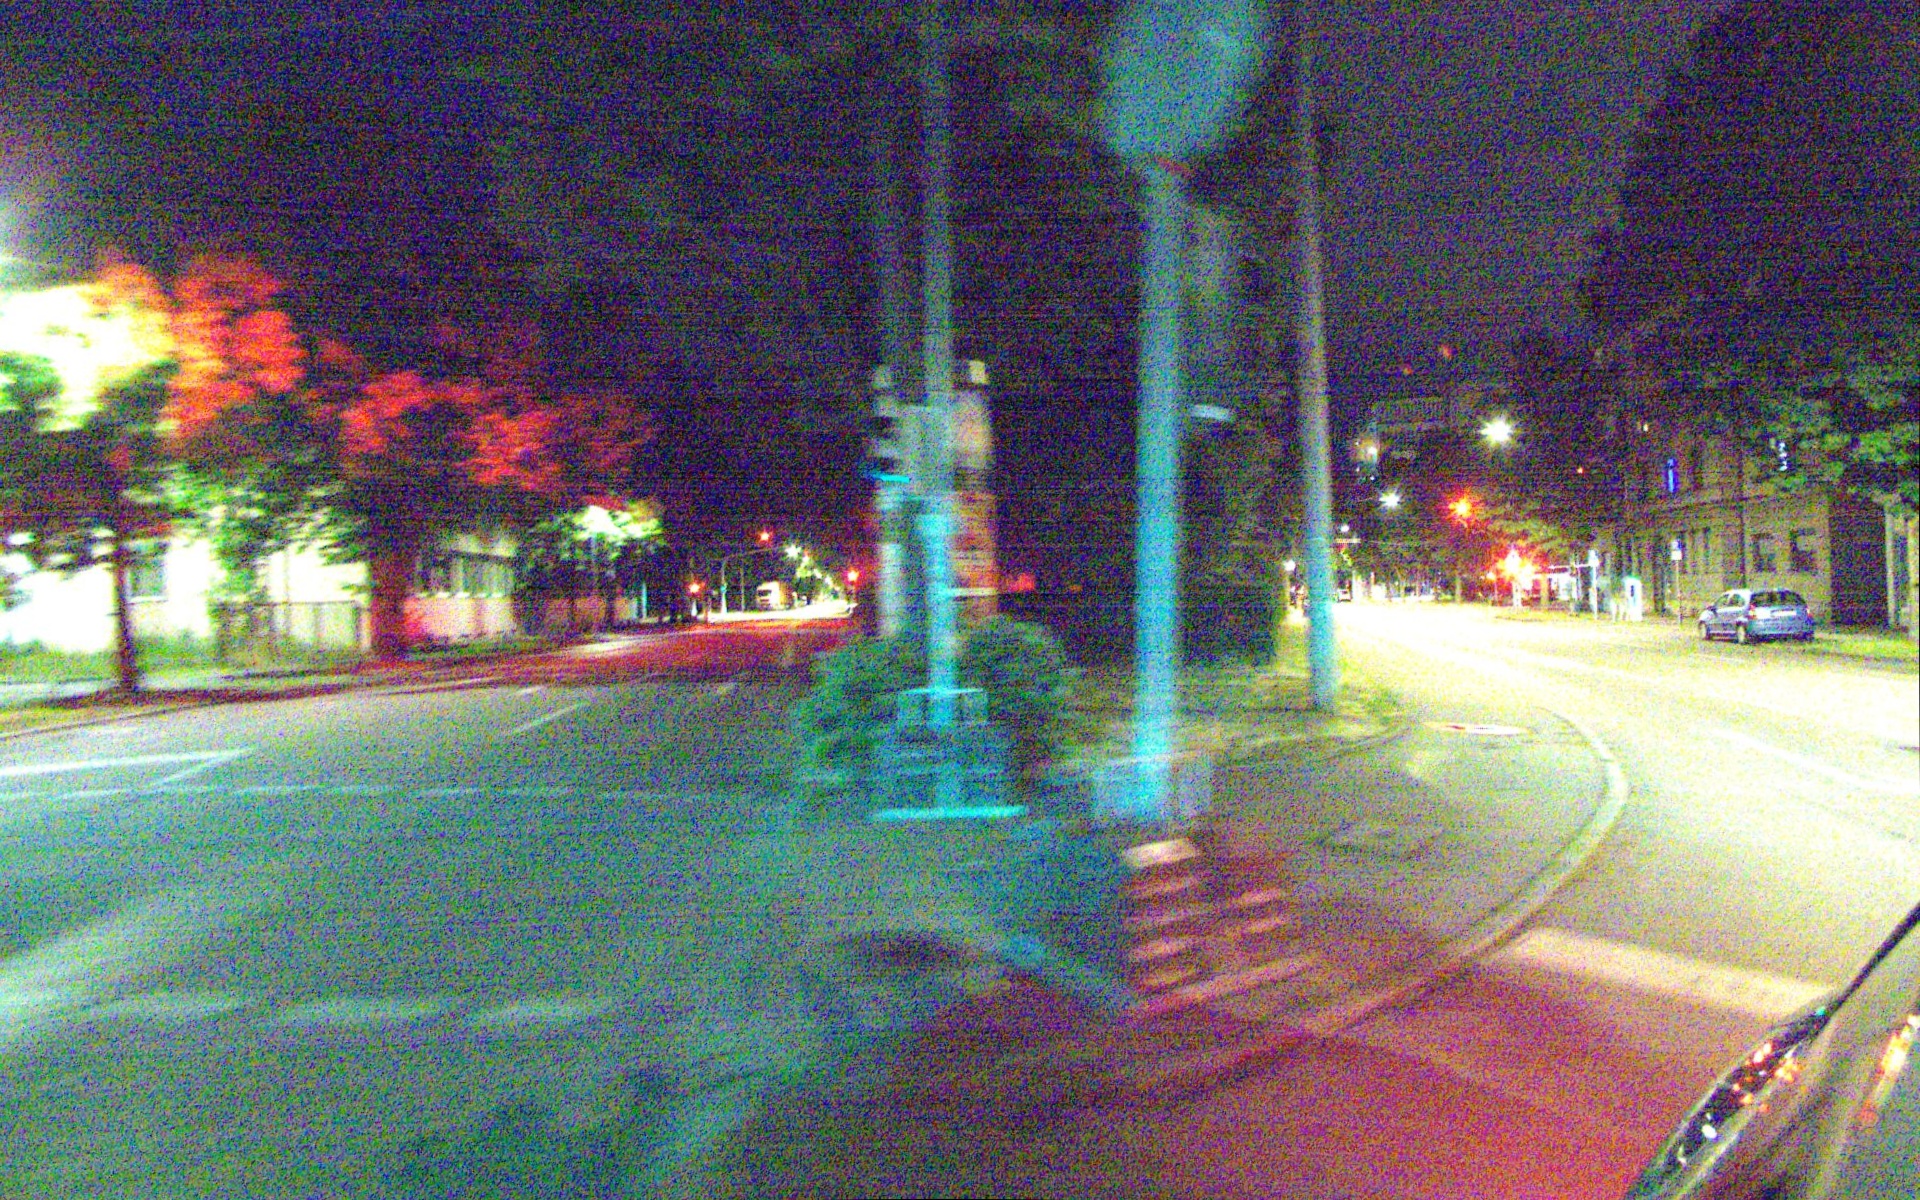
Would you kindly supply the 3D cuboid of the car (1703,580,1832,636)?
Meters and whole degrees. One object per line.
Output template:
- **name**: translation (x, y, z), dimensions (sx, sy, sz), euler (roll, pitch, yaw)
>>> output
- **car**: translation (22.701, 0.200, 28.613), dimensions (1.611, 1.482, 3.496), euler (-1, 0, 17)
